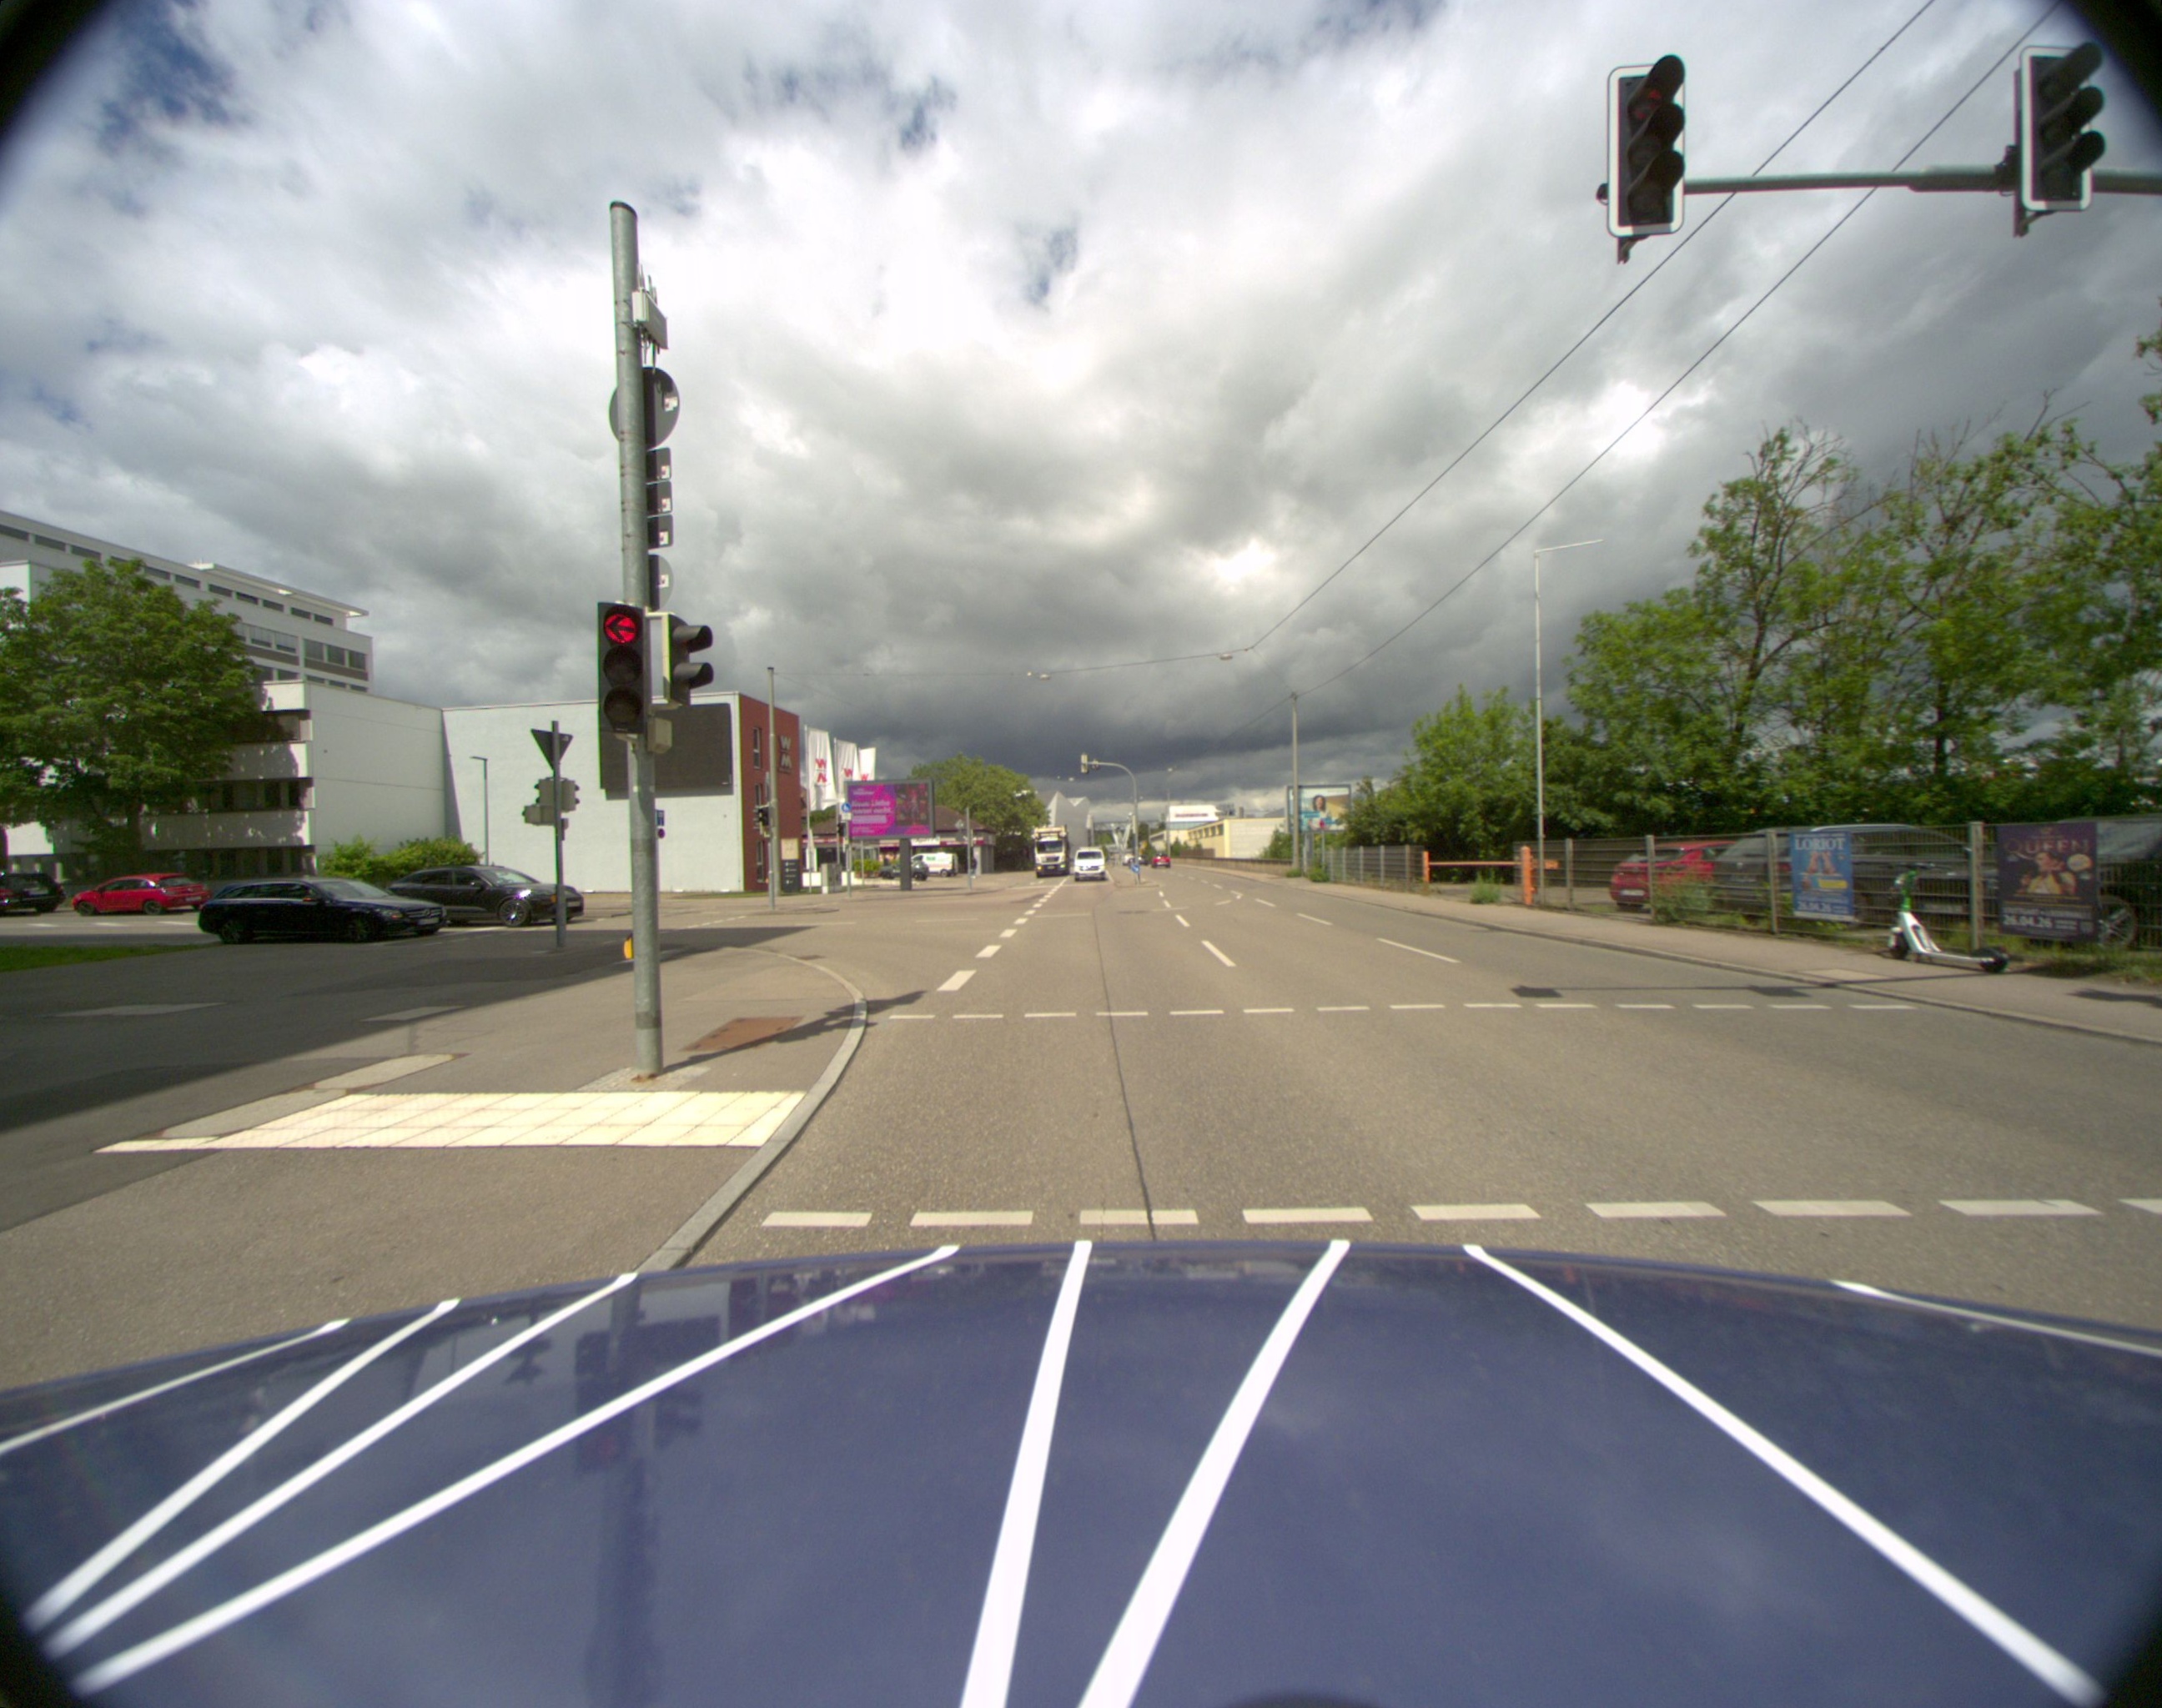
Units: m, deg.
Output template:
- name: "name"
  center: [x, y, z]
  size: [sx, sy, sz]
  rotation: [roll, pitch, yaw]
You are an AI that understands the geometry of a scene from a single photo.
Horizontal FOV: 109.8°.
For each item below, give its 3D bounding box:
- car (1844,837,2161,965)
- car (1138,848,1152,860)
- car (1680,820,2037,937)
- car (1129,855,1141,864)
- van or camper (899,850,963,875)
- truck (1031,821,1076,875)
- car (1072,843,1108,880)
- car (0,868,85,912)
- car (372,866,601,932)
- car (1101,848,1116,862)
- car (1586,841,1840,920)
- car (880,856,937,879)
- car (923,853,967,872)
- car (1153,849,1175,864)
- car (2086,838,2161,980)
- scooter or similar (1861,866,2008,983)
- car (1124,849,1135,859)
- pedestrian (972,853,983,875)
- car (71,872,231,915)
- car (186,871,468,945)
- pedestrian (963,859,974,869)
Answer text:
- name: "car"
  center: [12.747, 0.512, 9.657]
  size: [4.113, 1.411, 2.000]
  rotation: [-1, 0, 0]
- name: "car"
  center: [9.404, -0.019, 111.931]
  size: [1.860, 1.608, 4.000]
  rotation: [-2, 0, 1]
- name: "car"
  center: [12.849, 0.367, 12.751]
  size: [4.114, 1.724, 1.999]
  rotation: [-1, 1, -4]
- name: "car"
  center: [9.328, 0.958, 132.269]
  size: [1.860, 1.608, 4.000]
  rotation: [-2, 0, 1]
- name: "van or camper"
  center: [-12.620, 0.698, 64.085]
  size: [4.909, 1.946, 2.212]
  rotation: [1, 1, 1]
- name: "truck"
  center: [-2.076, -0.523, 61.253]
  size: [2.836, 3.889, 10.365]
  rotation: [-1, 1, 2]
- name: "car"
  center: [0.611, 0.405, 45.797]
  size: [1.935, 2.078, 4.209]
  rotation: [-1, 0, 3]
- name: "car"
  center: [-40.869, 1.374, 28.468]
  size: [4.311, 1.560, 1.870]
  rotation: [-1, 0, -5]
- name: "car"
  center: [-16.096, 1.187, 20.759]
  size: [4.651, 1.609, 2.000]
  rotation: [-1, 0, 0]
- name: "car"
  center: [3.753, 0.088, 102.676]
  size: [1.870, 1.782, 4.207]
  rotation: [-1, 0, 0]
- name: "car"
  center: [12.811, 0.492, 15.531]
  size: [3.864, 1.411, 1.901]
  rotation: [-1, 1, -8]
- name: "car"
  center: [-12.714, 0.969, 56.081]
  size: [3.675, 1.477, 1.762]
  rotation: [3, 1, 3]
- name: "car"
  center: [-12.007, 0.703, 67.255]
  size: [3.460, 1.477, 1.835]
  rotation: [3, 1, -1]
- name: "car"
  center: [8.758, 0.278, 80.581]
  size: [1.935, 1.590, 4.153]
  rotation: [0, 0, 1]
- name: "car"
  center: [12.884, 0.516, 7.247]
  size: [4.114, 1.411, 1.999]
  rotation: [-1, 0, -2]
- name: "scooter or similar"
  center: [9.621, 0.755, 8.616]
  size: [0.424, 1.203, 1.126]
  rotation: [-3, 0, 5]
- name: "car"
  center: [9.898, 0.042, 154.355]
  size: [1.896, 2.002, 5.650]
  rotation: [-2, 0, 1]
- name: "pedestrian"
  center: [-8.471, 0.812, 62.083]
  size: [0.714, 1.697, 0.739]
  rotation: [2, 1, 1]
- name: "car"
  center: [-35.288, 1.479, 28.917]
  size: [3.679, 1.453, 1.745]
  rotation: [-1, 0, -5]
- name: "car"
  center: [-17.381, 1.217, 17.698]
  size: [4.535, 1.484, 2.000]
  rotation: [-1, 1, 1]
- name: "pedestrian"
  center: [-14.279, 1.277, 96.465]
  size: [0.884, 1.241, 0.967]
  rotation: [-1, 0, 30]
